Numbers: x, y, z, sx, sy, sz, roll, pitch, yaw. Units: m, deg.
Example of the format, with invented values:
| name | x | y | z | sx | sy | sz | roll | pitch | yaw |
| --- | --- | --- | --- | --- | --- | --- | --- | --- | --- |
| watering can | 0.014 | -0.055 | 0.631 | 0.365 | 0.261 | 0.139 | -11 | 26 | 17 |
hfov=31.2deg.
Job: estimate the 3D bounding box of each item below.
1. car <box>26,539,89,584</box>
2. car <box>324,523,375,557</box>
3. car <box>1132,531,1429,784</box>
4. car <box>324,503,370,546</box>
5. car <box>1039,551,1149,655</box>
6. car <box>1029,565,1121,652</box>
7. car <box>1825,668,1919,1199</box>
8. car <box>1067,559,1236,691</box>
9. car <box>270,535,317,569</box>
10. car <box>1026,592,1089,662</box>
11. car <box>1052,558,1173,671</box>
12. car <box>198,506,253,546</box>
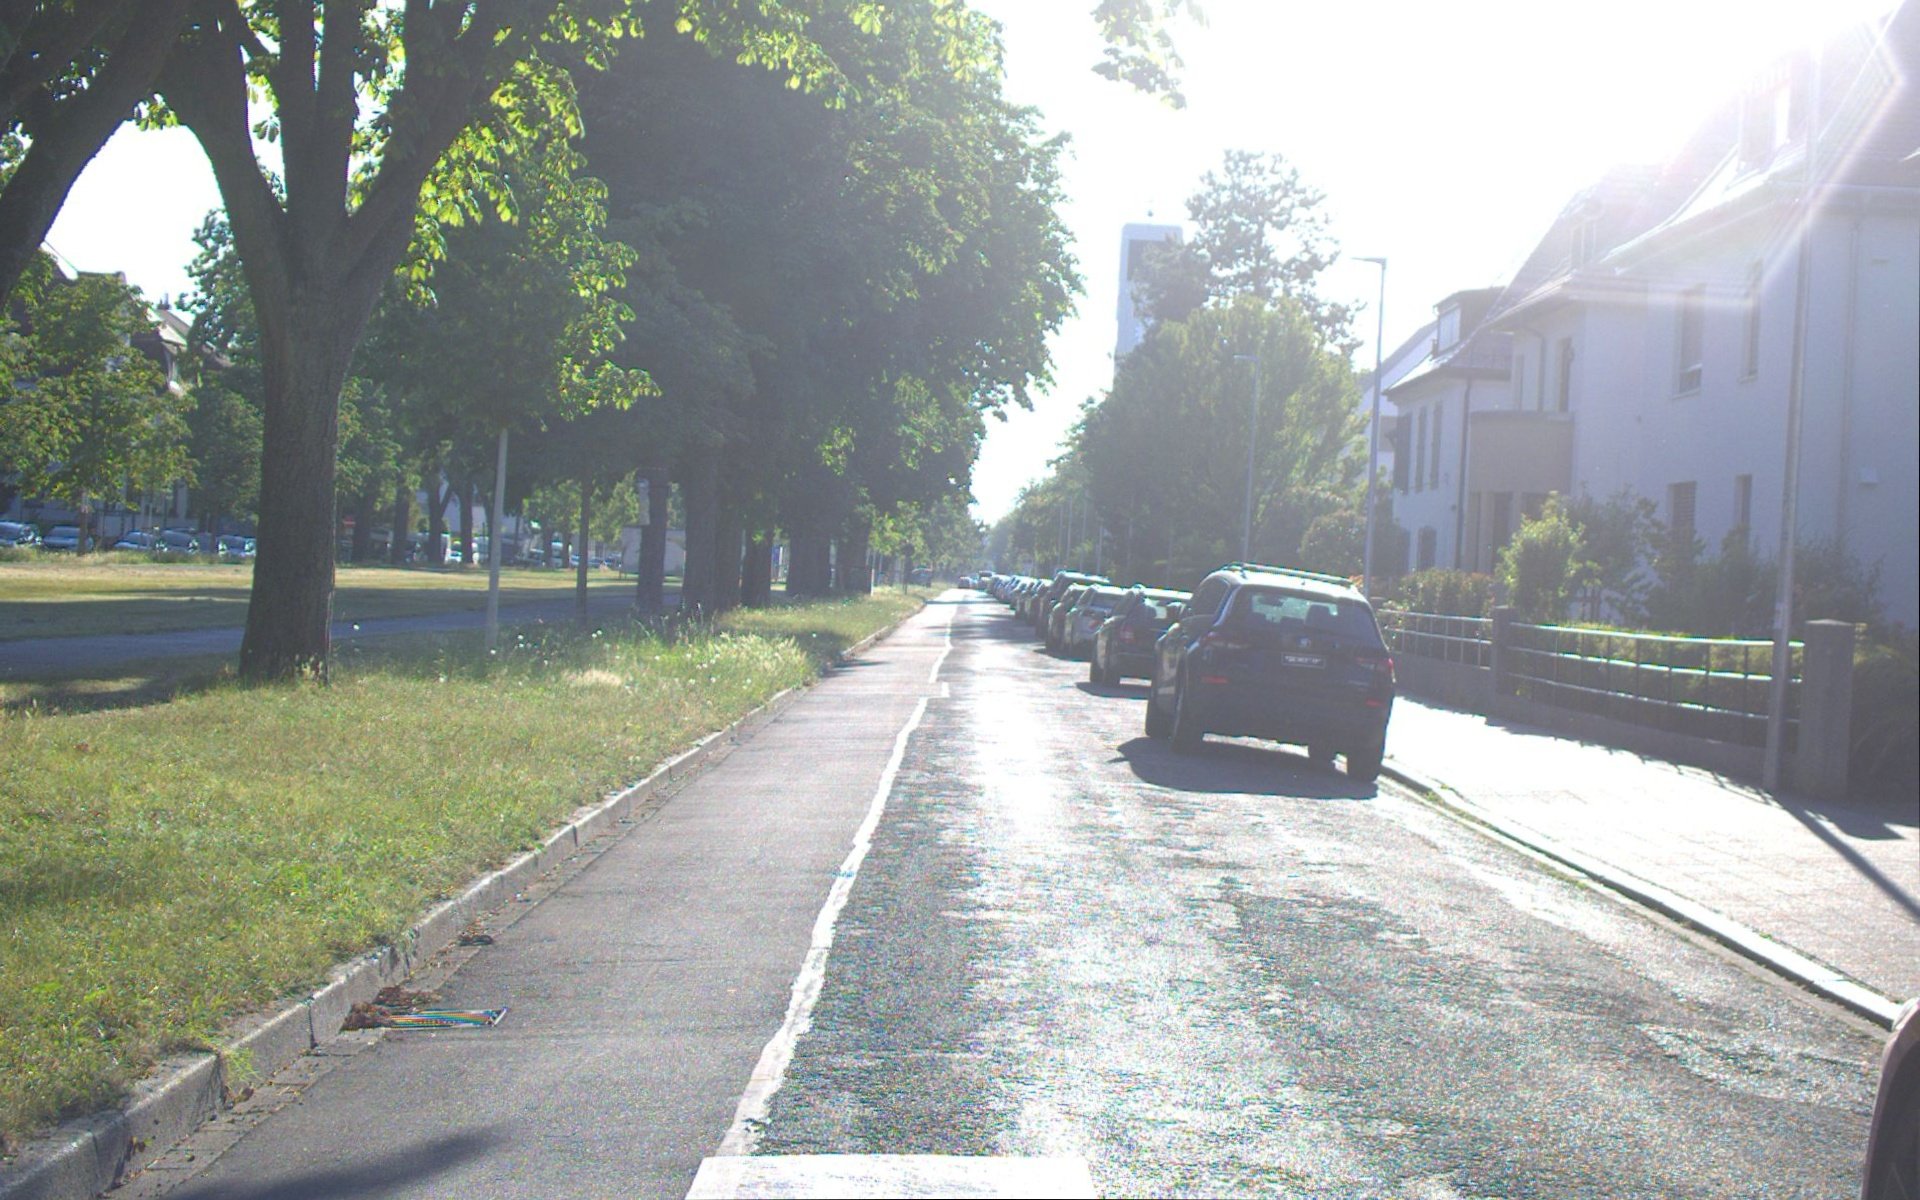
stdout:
| name | x | y | z | sx | sy | sz | roll | pitch | yaw |
| --- | --- | --- | --- | --- | --- | --- | --- | --- | --- |
| car | -39.894 | -1.681 | 151.992 | 1.729 | 1.756 | 3.346 | 6 | -1 | 0 |
| car | -33.554 | -3.291 | 189.094 | 1.993 | 1.728 | 4.000 | 3 | 1 | 0 |
| car | 2.772 | 0.454 | 30.744 | 1.993 | 1.897 | 4.390 | 6 | 0 | -1 |
| car | -32.452 | -3.988 | 182.209 | 1.654 | 1.932 | 3.567 | 6 | -2 | -1 |
| car | 2.870 | 0.077 | 74.349 | 1.993 | 2.007 | 4.000 | 6 | -1 | -1 |
| car | 2.930 | 0.239 | 88.465 | 1.993 | 2.007 | 4.000 | 6 | -1 | -1 |
| car | 2.684 | 0.876 | 5.032 | 1.709 | 1.355 | 4.203 | 6 | -1 | 0 |
| car | 2.643 | 0.361 | 48.386 | 1.993 | 1.648 | 4.000 | 4 | -1 | -1 |
| car | -39.498 | -2.830 | 203.863 | 1.879 | 1.746 | 3.797 | 6 | -1 | 0 |
| car | 3.062 | 0.864 | 108.243 | 1.691 | 2.007 | 3.625 | 6 | -1 | 0 |
| car | 2.999 | 0.299 | 68.381 | 1.993 | 2.007 | 4.000 | 6 | -1 | -1 |
| car | -40.255 | -4.035 | 188.476 | 1.993 | 1.907 | 4.000 | 6 | -1 | 0 |
